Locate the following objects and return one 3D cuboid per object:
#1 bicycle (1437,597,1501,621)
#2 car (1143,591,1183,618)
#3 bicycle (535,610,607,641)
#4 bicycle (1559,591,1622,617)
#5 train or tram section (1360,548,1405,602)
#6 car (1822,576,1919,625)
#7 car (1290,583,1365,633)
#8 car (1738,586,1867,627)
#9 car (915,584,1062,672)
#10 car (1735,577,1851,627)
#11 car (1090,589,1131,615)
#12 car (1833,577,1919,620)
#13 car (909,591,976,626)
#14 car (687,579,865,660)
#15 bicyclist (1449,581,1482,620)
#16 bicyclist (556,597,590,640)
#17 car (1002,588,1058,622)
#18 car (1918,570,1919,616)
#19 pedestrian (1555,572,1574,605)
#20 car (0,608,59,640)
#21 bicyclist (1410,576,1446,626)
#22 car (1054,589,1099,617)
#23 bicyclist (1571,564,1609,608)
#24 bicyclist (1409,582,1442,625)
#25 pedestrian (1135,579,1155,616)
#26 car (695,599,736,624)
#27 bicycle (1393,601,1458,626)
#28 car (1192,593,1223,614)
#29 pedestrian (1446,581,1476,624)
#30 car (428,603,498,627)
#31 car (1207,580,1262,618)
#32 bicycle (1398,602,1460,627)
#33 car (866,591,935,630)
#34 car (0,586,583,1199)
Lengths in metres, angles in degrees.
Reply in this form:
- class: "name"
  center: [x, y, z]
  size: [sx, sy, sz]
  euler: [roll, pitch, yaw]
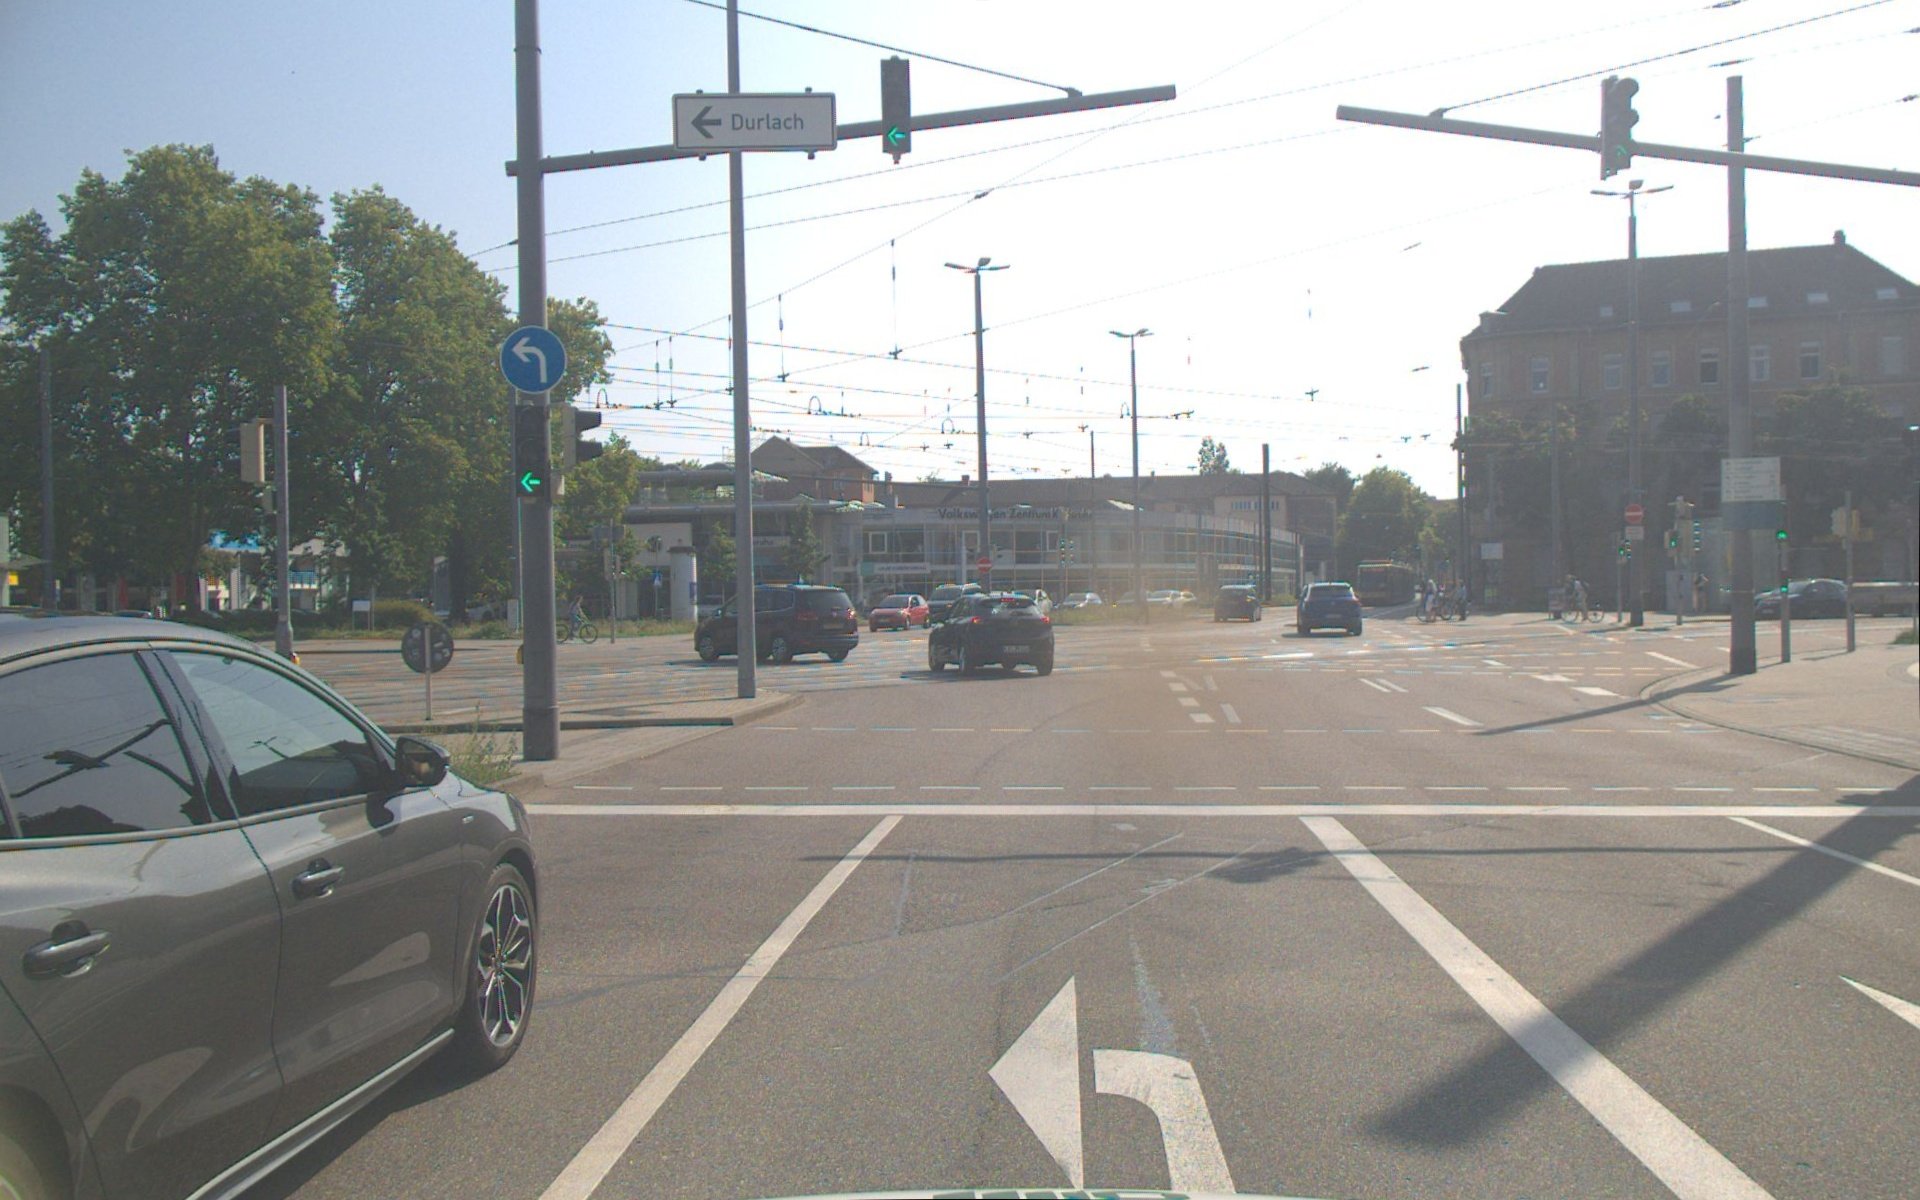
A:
- class: "bicycle"
  center: [22.477, 0.378, 73.011]
  size: [2.581, 0.981, 1.086]
  euler: [-1, 0, -22]
- class: "car"
  center: [12.262, 0.251, 99.704]
  size: [1.580, 1.501, 4.002]
  euler: [-3, -1, 18]
- class: "bicycle"
  center: [-14.282, 0.926, 60.787]
  size: [2.554, 1.075, 0.958]
  euler: [-1, 0, -12]
- class: "bicycle"
  center: [25.307, 0.155, 66.394]
  size: [2.596, 0.981, 1.080]
  euler: [-1, 0, -35]
- class: "train or tram section"
  center: [31.564, -1.861, 123.245]
  size: [2.599, 3.763, 10.595]
  euler: [-1, 0, 18]
- class: "car"
  center: [37.100, 0.014, 66.468]
  size: [4.631, 1.891, 1.896]
  euler: [-1, 0, -24]
- class: "car"
  center: [11.280, 0.220, 51.015]
  size: [1.787, 1.453, 4.416]
  euler: [-1, 0, 6]
- class: "car"
  center: [30.704, 0.225, 60.293]
  size: [4.318, 1.421, 2.007]
  euler: [-1, 0, -26]
- class: "car"
  center: [0.449, 0.510, 31.032]
  size: [1.654, 1.518, 4.355]
  euler: [0, -1, -15]
- class: "car"
  center: [32.488, 0.058, 64.518]
  size: [4.183, 1.891, 1.895]
  euler: [-1, 0, -26]
- class: "car"
  center: [9.280, 0.108, 101.631]
  size: [1.580, 1.501, 4.002]
  euler: [-3, -1, 18]
- class: "car"
  center: [41.302, -0.078, 73.631]
  size: [4.190, 1.891, 1.923]
  euler: [-1, 0, -16]
- class: "car"
  center: [-0.777, 0.375, 76.435]
  size: [1.919, 1.501, 4.002]
  euler: [-3, -1, 17]
- class: "car"
  center: [-4.298, 0.424, 38.190]
  size: [1.818, 1.744, 4.340]
  euler: [-1, 0, -44]
- class: "bicyclist"
  center: [22.295, 0.008, 72.933]
  size: [0.920, 1.709, 1.086]
  euler: [-1, 0, -21]
- class: "bicyclist"
  center: [-14.212, 0.665, 60.809]
  size: [1.142, 1.554, 0.958]
  euler: [-1, 0, -11]
- class: "car"
  center: [3.331, 0.222, 77.755]
  size: [1.580, 1.501, 4.002]
  euler: [-3, -1, 17]
- class: "car"
  center: [42.006, -0.311, 68.318]
  size: [4.591, 1.891, 2.029]
  euler: [-1, 0, -26]
- class: "pedestrian"
  center: [28.178, -0.535, 77.096]
  size: [0.662, 1.496, 0.538]
  euler: [-1, 0, -42]
- class: "car"
  center: [-42.970, 1.071, 74.279]
  size: [4.089, 1.378, 1.571]
  euler: [-1, 0, -17]
- class: "bicyclist"
  center: [19.606, 0.040, 69.267]
  size: [0.926, 2.059, 1.080]
  euler: [-1, 0, -34]
- class: "car"
  center: [6.707, 0.173, 94.667]
  size: [1.580, 1.501, 4.002]
  euler: [-3, -1, 18]
- class: "bicyclist"
  center: [25.267, -0.545, 66.369]
  size: [0.926, 1.738, 1.080]
  euler: [-1, 0, -34]
- class: "bicyclist"
  center: [20.123, 0.148, 71.537]
  size: [0.920, 1.831, 1.086]
  euler: [-1, 0, -21]
- class: "pedestrian"
  center: [7.837, -0.104, 70.046]
  size: [0.761, 1.529, 0.711]
  euler: [-1, 0, 10]
- class: "car"
  center: [-16.100, 0.732, 108.958]
  size: [1.663, 1.549, 4.102]
  euler: [-1, 0, 7]
- class: "bicycle"
  center: [20.143, 0.576, 71.546]
  size: [2.581, 0.981, 1.086]
  euler: [-1, 0, -22]
- class: "car"
  center: [18.574, 0.238, 124.139]
  size: [1.580, 1.501, 4.002]
  euler: [-3, -1, 18]
- class: "pedestrian"
  center: [21.345, 0.098, 70.437]
  size: [0.919, 1.828, 0.848]
  euler: [-1, 0, -38]
- class: "car"
  center: [-33.389, 0.999, 111.313]
  size: [1.670, 1.549, 4.501]
  euler: [-1, 0, 34]
- class: "car"
  center: [12.293, -0.068, 73.847]
  size: [1.787, 1.562, 4.415]
  euler: [-1, 0, 18]
- class: "bicycle"
  center: [19.653, 0.593, 69.290]
  size: [2.596, 0.981, 1.080]
  euler: [-1, 0, -35]
- class: "car"
  center: [-2.458, 0.410, 69.374]
  size: [1.580, 1.501, 4.002]
  euler: [-3, -1, 17]
- class: "car"
  center: [-2.403, 0.713, 3.838]
  size: [1.793, 1.460, 4.552]
  euler: [-1, 0, 3]
